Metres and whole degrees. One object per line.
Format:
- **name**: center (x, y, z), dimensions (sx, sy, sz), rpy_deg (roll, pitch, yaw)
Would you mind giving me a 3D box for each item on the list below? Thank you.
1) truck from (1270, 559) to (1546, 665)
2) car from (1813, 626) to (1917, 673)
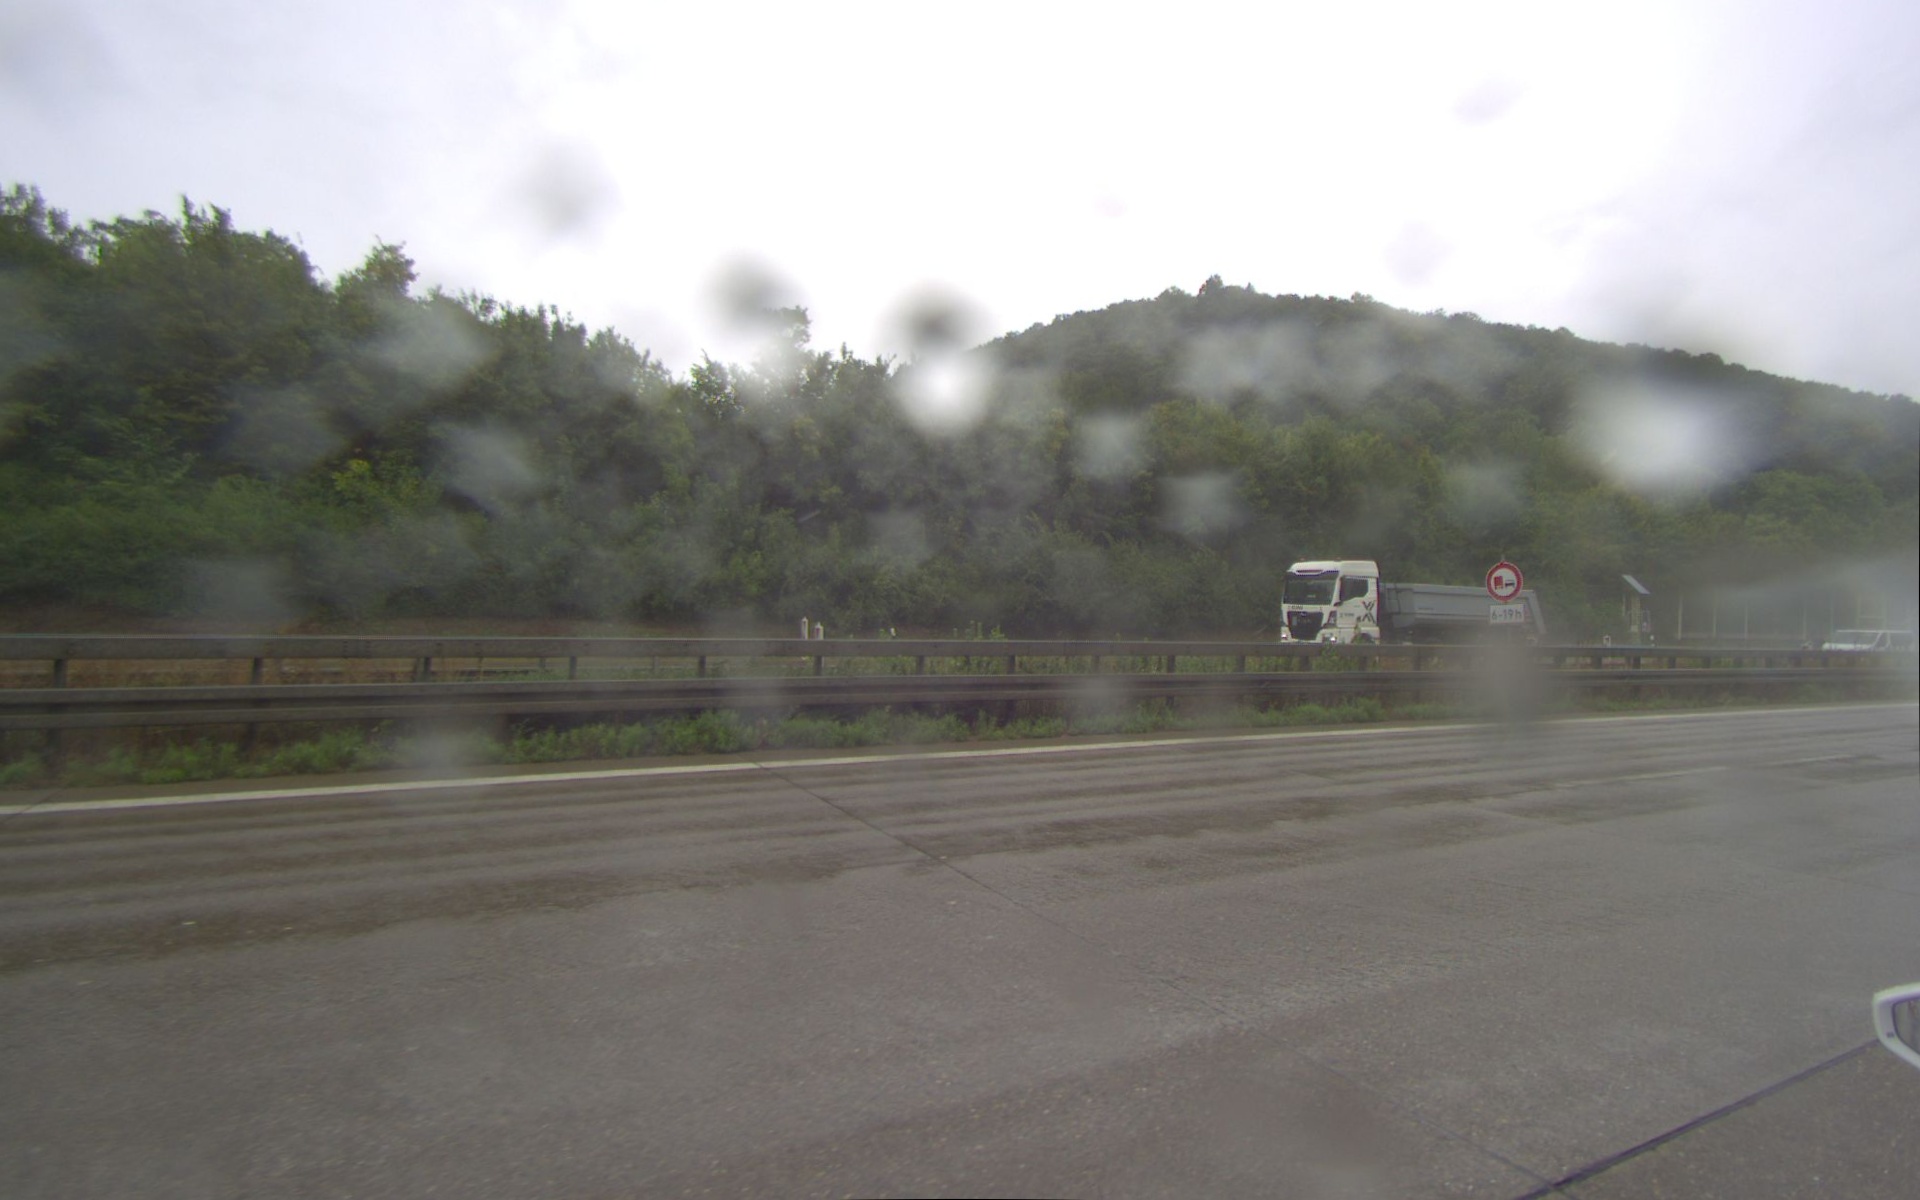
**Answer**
- **truck**: center (16.281, 0.495, 36.006), dimensions (11.375, 3.359, 2.762), rpy_deg (1, 0, -29)
- **car**: center (41.868, 2.279, 46.445), dimensions (5.135, 2.040, 1.968), rpy_deg (2, 0, -29)
